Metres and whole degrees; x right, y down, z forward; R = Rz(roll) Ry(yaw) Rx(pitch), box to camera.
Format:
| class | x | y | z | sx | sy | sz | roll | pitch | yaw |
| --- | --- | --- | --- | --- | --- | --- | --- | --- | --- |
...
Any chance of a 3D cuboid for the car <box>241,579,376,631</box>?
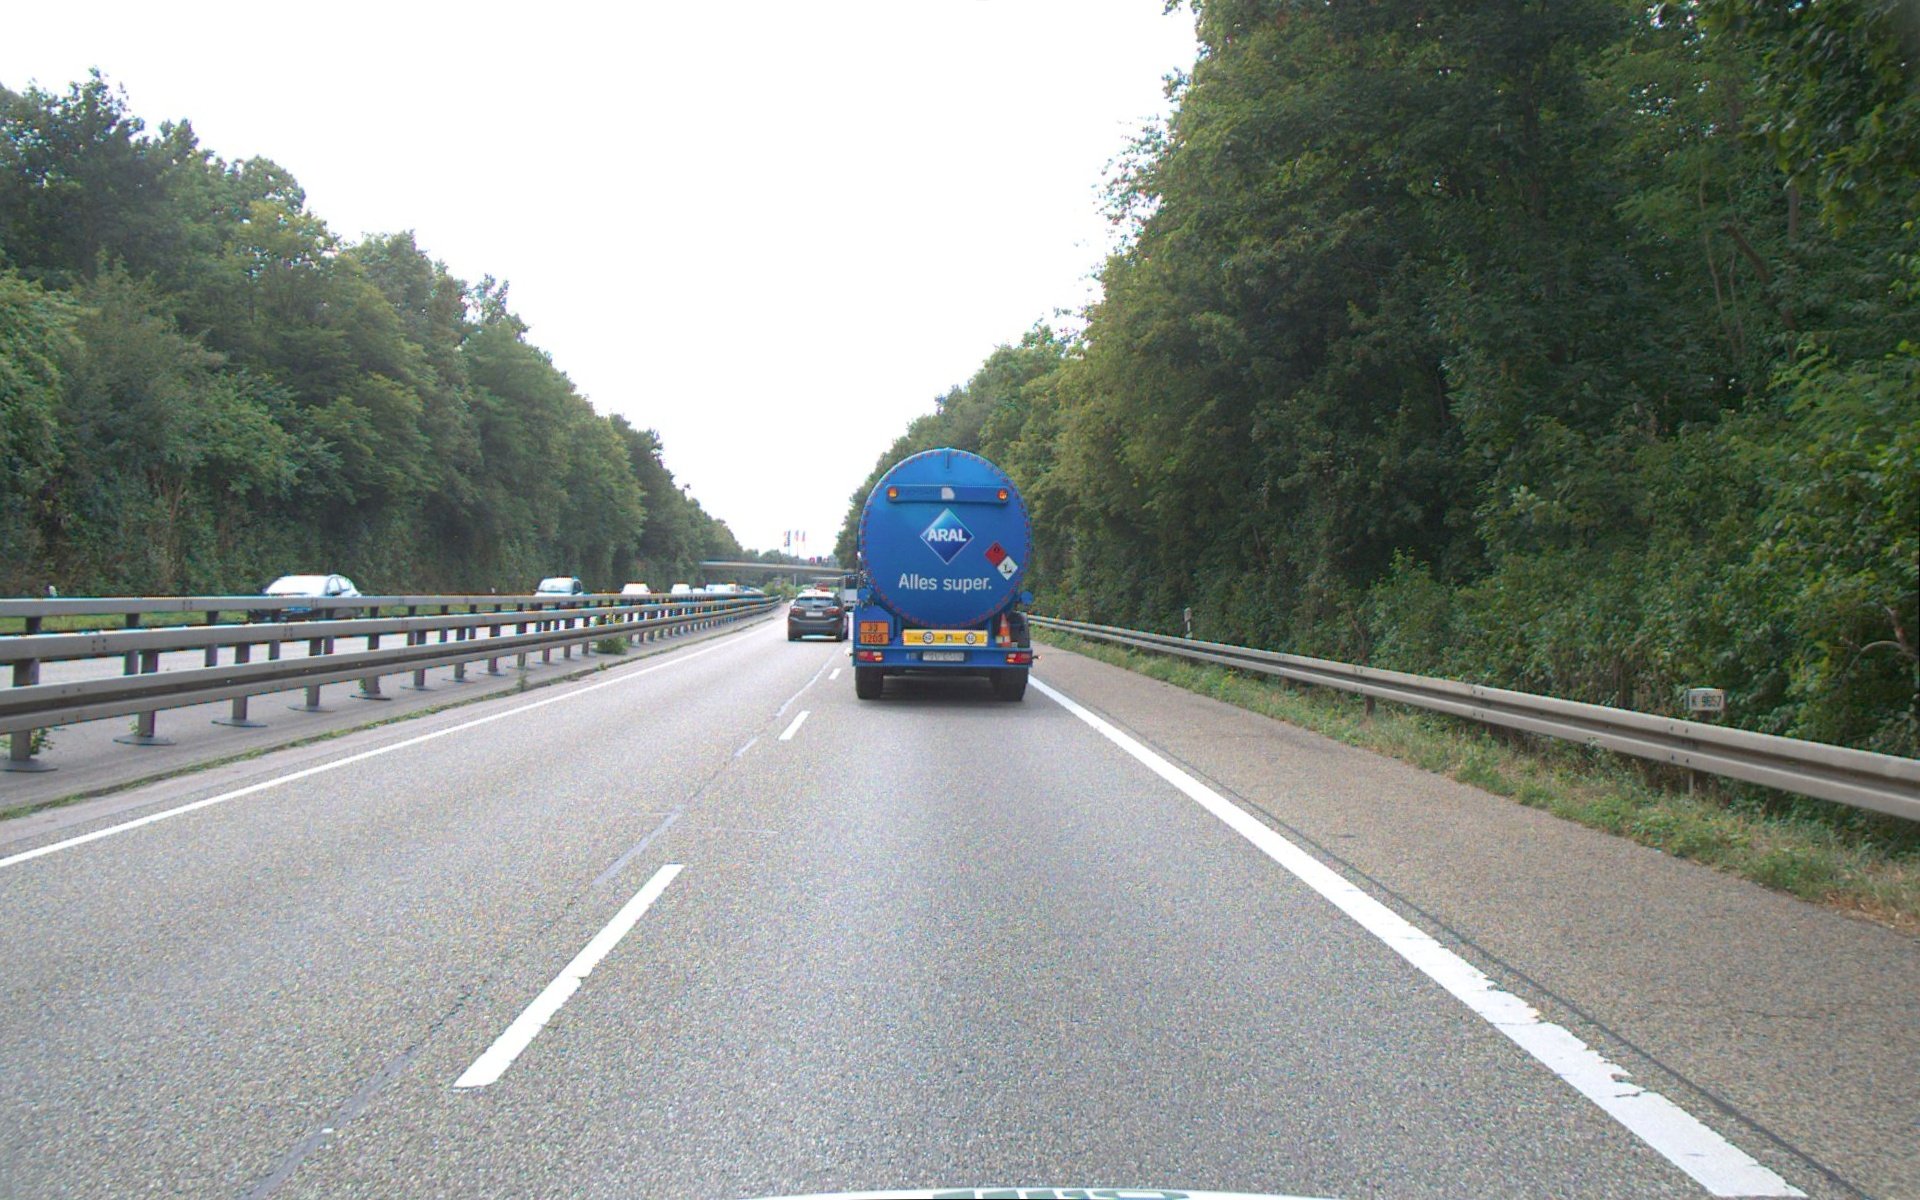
| class | x | y | z | sx | sy | sz | roll | pitch | yaw |
| --- | --- | --- | --- | --- | --- | --- | --- | --- | --- |
| car | -16.142 | 0.111 | 41.215 | 1.706 | 1.210 | 4.290 | 0 | 0 | -1 |

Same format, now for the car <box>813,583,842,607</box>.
| class | x | y | z | sx | sy | sz | roll | pitch | yaw |
| --- | --- | --- | --- | --- | --- | --- | --- | --- | --- |
| car | -8.955 | -0.335 | 111.837 | 1.790 | 1.637 | 4.165 | 0 | 0 | -3 |

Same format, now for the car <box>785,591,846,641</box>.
| class | x | y | z | sx | sy | sz | roll | pitch | yaw |
| --- | --- | --- | --- | --- | --- | --- | --- | --- | --- |
| car | -4.453 | 0.457 | 51.431 | 1.790 | 1.483 | 4.636 | 0 | 0 | -4 |

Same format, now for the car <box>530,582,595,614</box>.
| class | x | y | z | sx | sy | sz | roll | pitch | yaw |
| --- | --- | --- | --- | --- | --- | --- | --- | --- | --- |
| car | -15.301 | -0.085 | 63.801 | 1.707 | 1.210 | 4.287 | 0 | 0 | -4 |

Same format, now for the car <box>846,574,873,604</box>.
| class | x | y | z | sx | sy | sz | roll | pitch | yaw |
| --- | --- | --- | --- | --- | --- | --- | --- | --- | --- |
| car | -7.796 | -0.836 | 128.111 | 1.955 | 2.284 | 3.996 | 0 | 0 | -5 |

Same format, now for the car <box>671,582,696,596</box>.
| class | x | y | z | sx | sy | sz | roll | pitch | yaw |
| --- | --- | --- | --- | --- | --- | --- | --- | --- | --- |
| car | -25.232 | -1.004 | 151.026 | 1.707 | 1.210 | 4.288 | 0 | 0 | -3 |

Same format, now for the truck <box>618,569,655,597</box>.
| class | x | y | z | sx | sy | sz | roll | pitch | yaw |
| --- | --- | --- | --- | --- | --- | --- | --- | --- | --- |
| truck | -21.543 | -1.121 | 110.421 | 1.954 | 1.769 | 3.996 | 0 | 0 | -4 |

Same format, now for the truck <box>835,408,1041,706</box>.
| class | x | y | z | sx | sy | sz | roll | pitch | yaw |
| --- | --- | --- | --- | --- | --- | --- | --- | --- | --- |
| truck | -0.299 | -0.595 | 25.570 | 2.699 | 3.914 | 7.688 | 0 | 0 | 0 |
